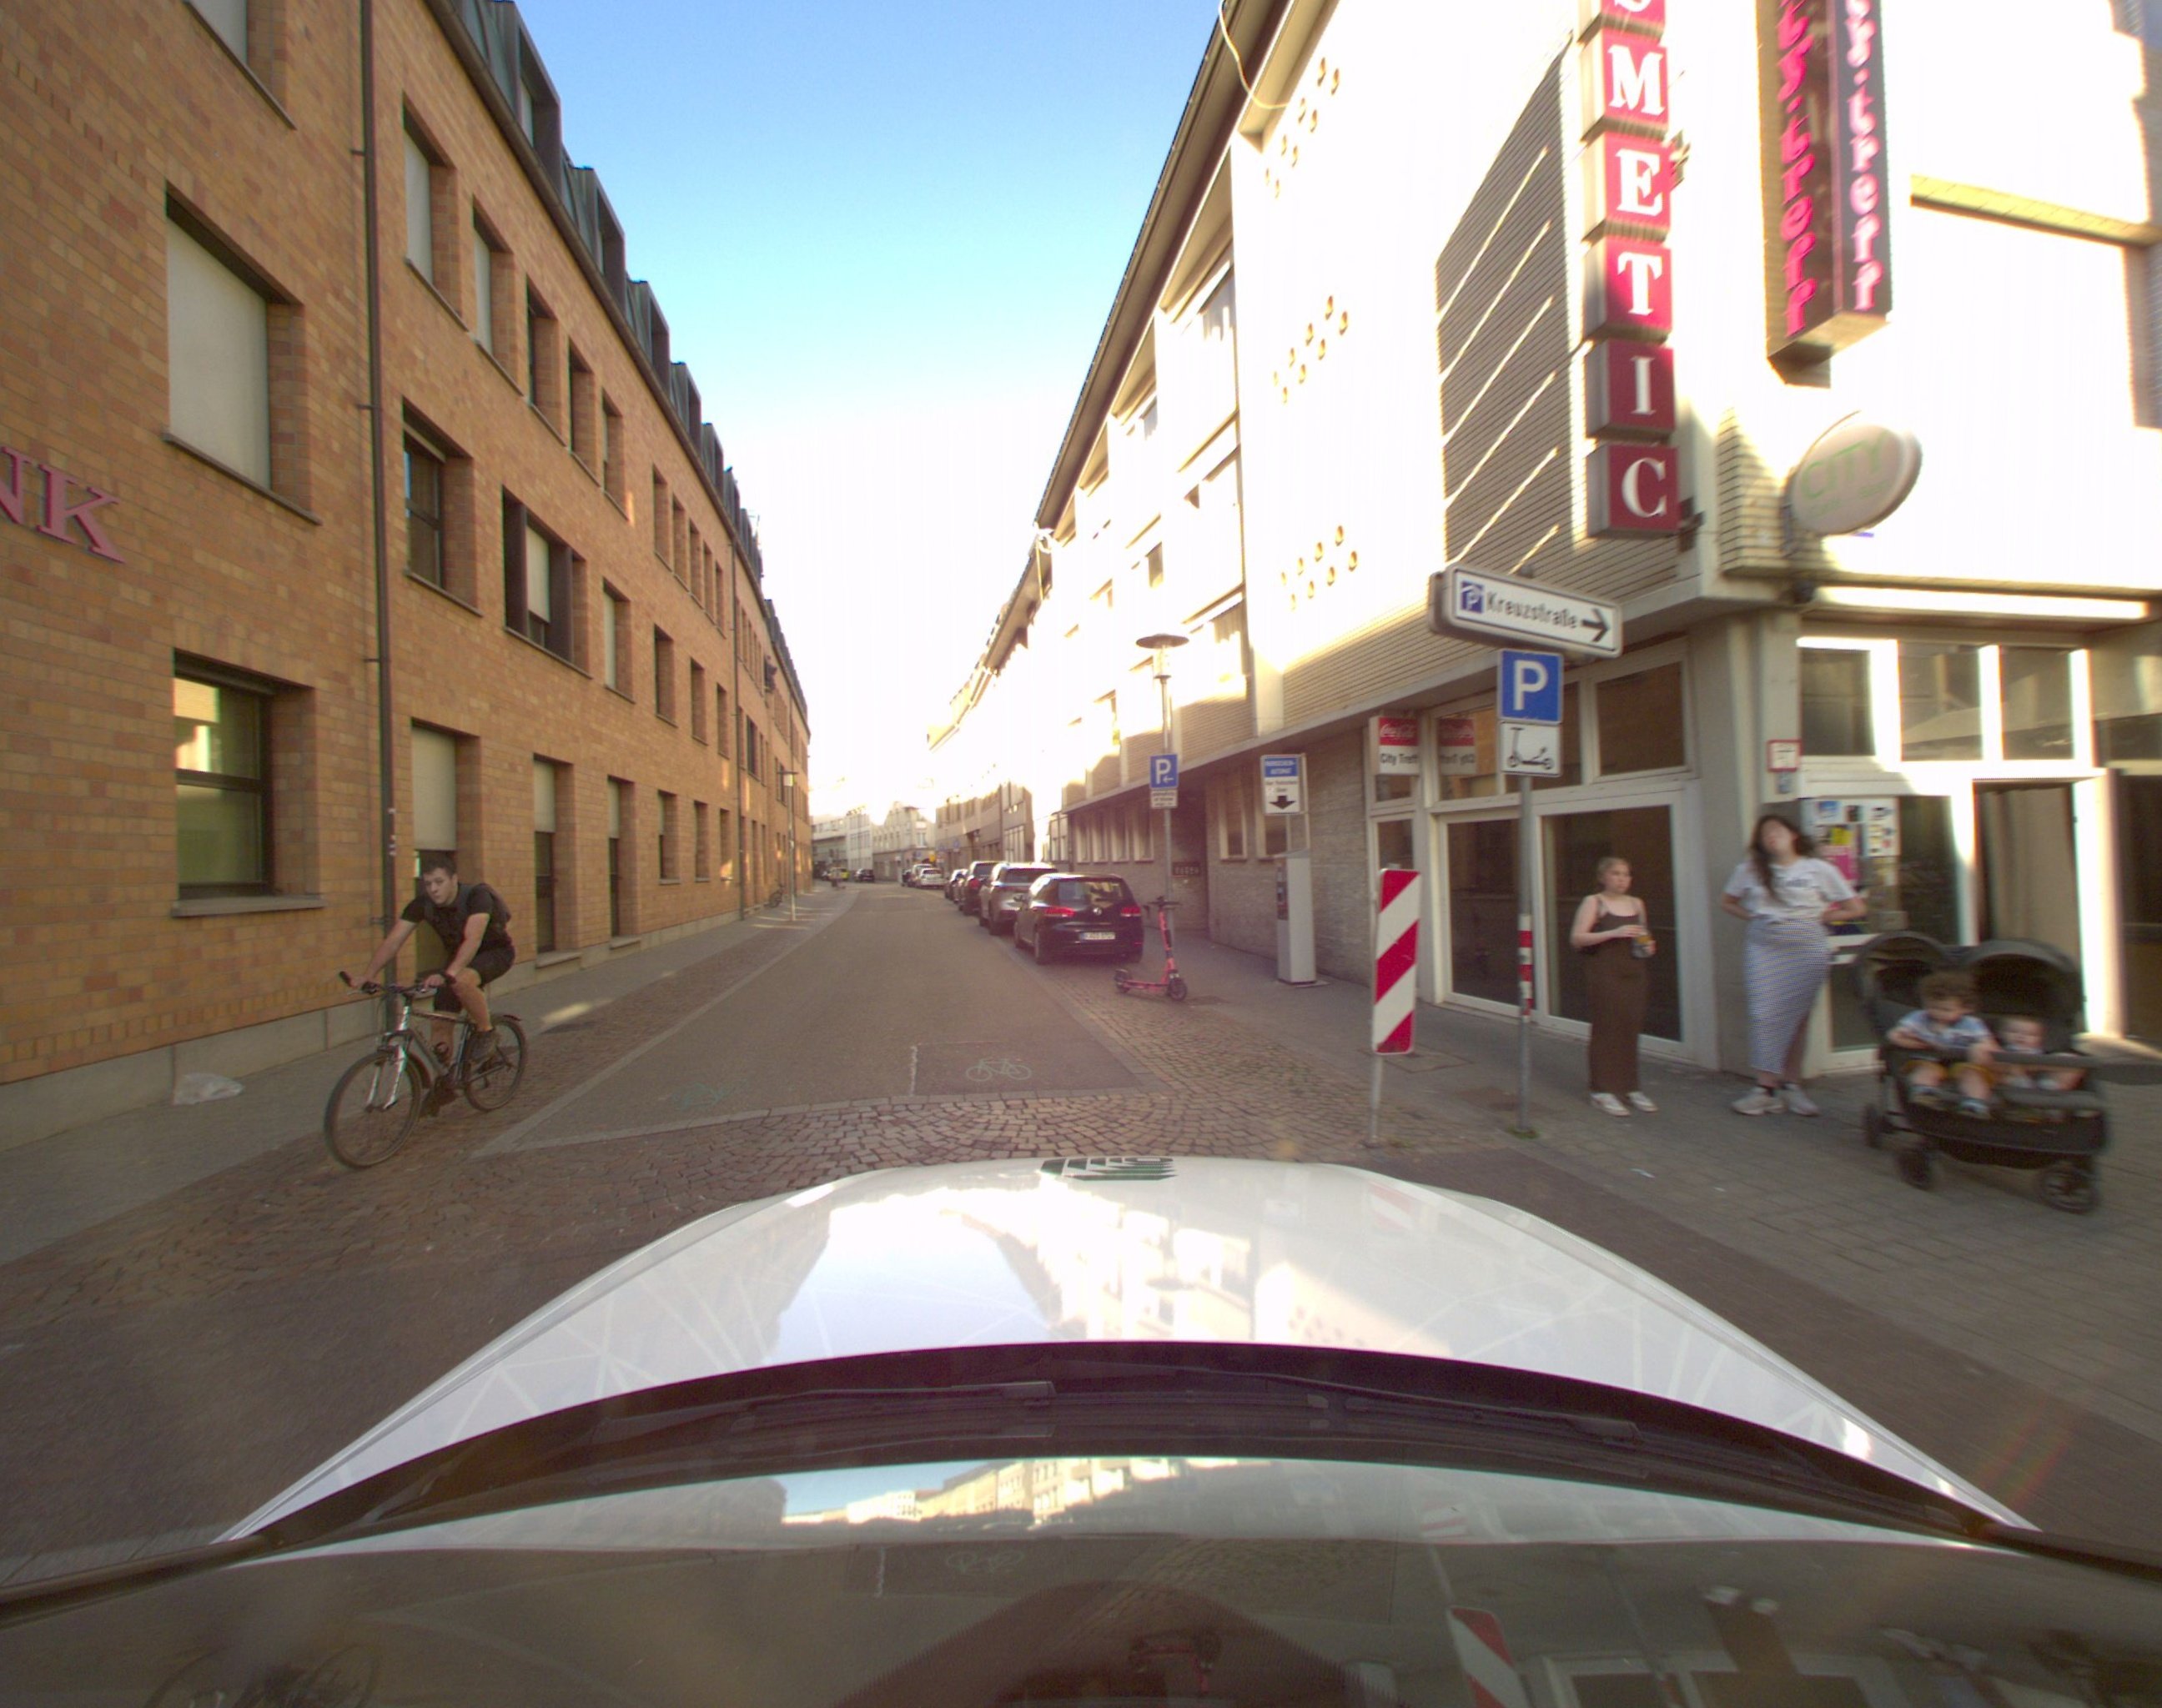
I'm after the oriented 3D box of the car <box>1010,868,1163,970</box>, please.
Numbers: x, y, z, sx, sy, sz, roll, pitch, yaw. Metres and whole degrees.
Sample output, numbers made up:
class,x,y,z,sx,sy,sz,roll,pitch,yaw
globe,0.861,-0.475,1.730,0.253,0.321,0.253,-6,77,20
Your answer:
class,x,y,z,sx,sy,sz,roll,pitch,yaw
car,-0.097,1.039,14.647,1.824,1.505,4.581,1,-1,-12

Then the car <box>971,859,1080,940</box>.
class,x,y,z,sx,sy,sz,roll,pitch,yaw
car,-1.492,1.015,19.861,1.995,1.702,4.822,1,-1,-12

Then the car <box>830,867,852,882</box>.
class,x,y,z,sx,sy,sz,roll,pitch,yaw
car,-33.353,2.812,113.270,2.065,2.014,4.135,-1,-1,-30

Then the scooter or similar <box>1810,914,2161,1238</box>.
class,x,y,z,sx,sy,sz,roll,pitch,yaw
scooter or similar,4.198,0.929,3.882,0.860,1.176,1.051,-2,1,30

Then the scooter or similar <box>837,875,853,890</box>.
class,x,y,z,sx,sy,sz,roll,pitch,yaw
scooter or similar,-19.579,2.357,67.474,0.693,1.217,1.361,-2,-1,10

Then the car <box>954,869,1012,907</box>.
class,x,y,z,sx,sy,sz,roll,pitch,yaw
car,-4.072,1.335,33.144,1.809,1.413,4.767,1,-1,-14

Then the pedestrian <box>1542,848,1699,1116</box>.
class,x,y,z,sx,sy,sz,roll,pitch,yaw
pedestrian,3.317,0.752,5.037,0.571,1.540,0.440,-4,0,-4

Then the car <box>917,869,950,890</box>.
class,x,y,z,sx,sy,sz,roll,pitch,yaw
car,-10.765,1.810,59.305,1.845,1.478,4.142,1,-1,-18

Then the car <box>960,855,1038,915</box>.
class,x,y,z,sx,sy,sz,roll,pitch,yaw
car,-2.839,0.973,27.117,2.105,1.786,5.031,0,-1,-12

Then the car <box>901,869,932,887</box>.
class,x,y,z,sx,sy,sz,roll,pitch,yaw
car,-14.343,2.069,70.943,1.896,1.518,4.032,-1,-1,-22

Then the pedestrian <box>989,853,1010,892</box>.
class,x,y,z,sx,sy,sz,roll,pitch,yaw
pedestrian,-3.729,0.855,37.178,0.789,1.721,0.743,-4,0,-13

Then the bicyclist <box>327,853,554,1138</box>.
class,x,y,z,sx,sy,sz,roll,pitch,yaw
bicyclist,-4.139,0.847,5.347,0.661,1.642,0.924,-5,-1,-5

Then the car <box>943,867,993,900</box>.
class,x,y,z,sx,sy,sz,roll,pitch,yaw
car,-5.477,1.378,38.984,1.896,1.453,5.201,0,-1,-13

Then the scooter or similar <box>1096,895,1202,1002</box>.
class,x,y,z,sx,sy,sz,roll,pitch,yaw
scooter or similar,0.816,1.118,10.014,0.497,1.194,1.291,-1,-1,-40

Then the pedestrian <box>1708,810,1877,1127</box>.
class,x,y,z,sx,sy,sz,roll,pitch,yaw
pedestrian,4.239,0.633,4.904,0.619,1.736,0.626,-2,-1,32

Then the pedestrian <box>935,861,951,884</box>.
class,x,y,z,sx,sy,sz,roll,pitch,yaw
pedestrian,-11.163,1.529,65.910,1.045,1.801,1.191,-1,-2,-17

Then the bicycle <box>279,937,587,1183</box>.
class,x,y,z,sx,sy,sz,roll,pitch,yaw
bicycle,-4.105,1.220,5.368,0.650,1.131,1.732,-5,0,-5

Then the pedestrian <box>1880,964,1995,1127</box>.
class,x,y,z,sx,sy,sz,roll,pitch,yaw
pedestrian,4.038,0.878,3.859,0.328,0.633,0.512,-2,-1,43

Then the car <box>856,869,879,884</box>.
class,x,y,z,sx,sy,sz,roll,pitch,yaw
car,-25.846,2.691,98.577,1.977,1.692,4.067,0,-1,-25

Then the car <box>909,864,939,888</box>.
class,x,y,z,sx,sy,sz,roll,pitch,yaw
car,-12.643,1.767,65.289,1.835,1.791,5.182,0,-1,-17

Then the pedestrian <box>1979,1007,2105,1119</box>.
class,x,y,z,sx,sy,sz,roll,pitch,yaw
pedestrian,4.342,0.933,3.695,0.328,0.398,0.314,-2,-1,44

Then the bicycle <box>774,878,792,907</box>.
class,x,y,z,sx,sy,sz,roll,pitch,yaw
bicycle,-12.866,1.652,35.166,0.633,1.162,1.791,2,-1,-22
